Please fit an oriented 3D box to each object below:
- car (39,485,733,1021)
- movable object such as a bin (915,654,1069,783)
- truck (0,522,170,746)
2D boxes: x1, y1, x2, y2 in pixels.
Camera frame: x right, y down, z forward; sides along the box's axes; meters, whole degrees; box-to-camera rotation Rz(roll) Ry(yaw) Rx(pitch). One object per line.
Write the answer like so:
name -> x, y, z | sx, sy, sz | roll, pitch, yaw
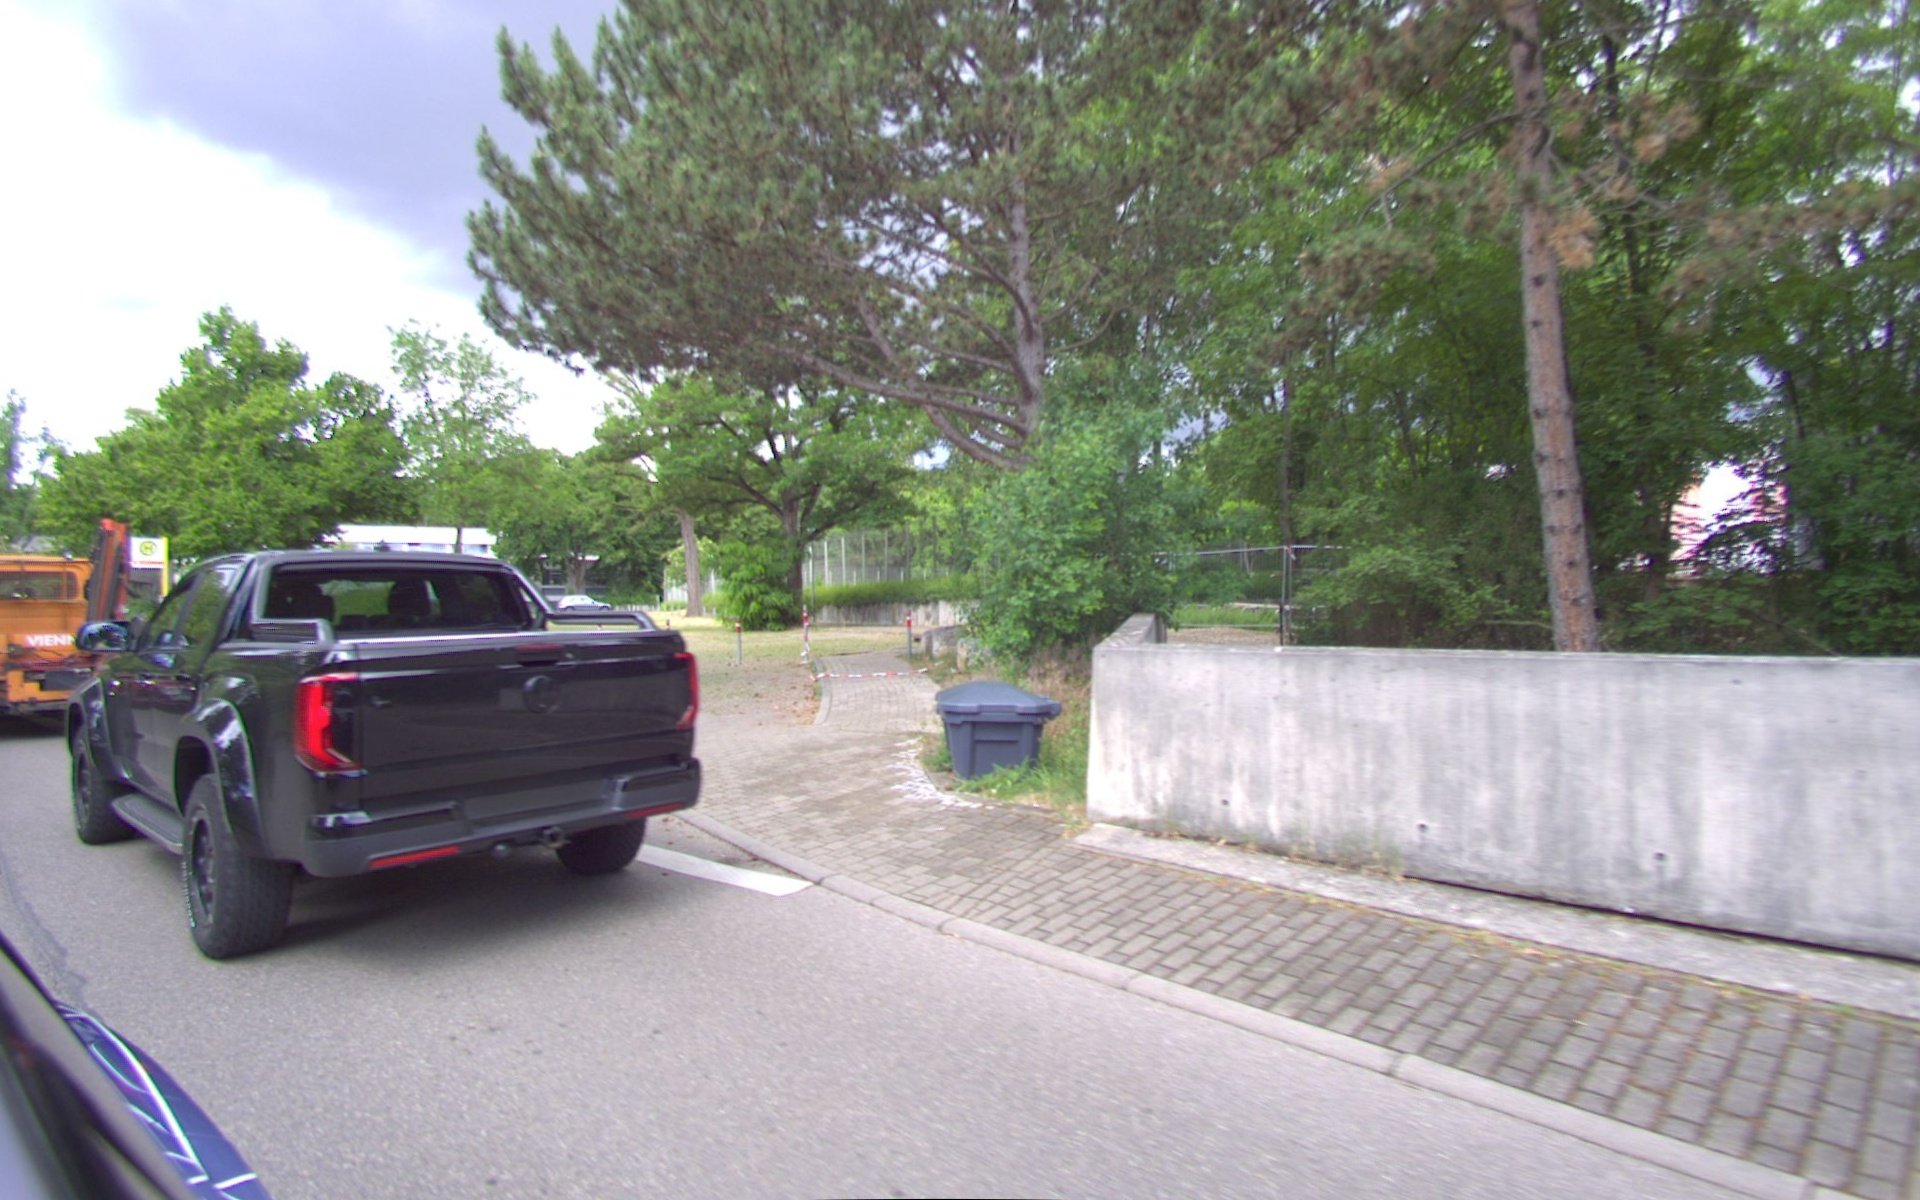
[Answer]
car -> -3.693, 0.525, 5.855 | 5.336, 1.749, 1.972 | -1, -1, 43
movable object such as a bin -> 0.272, 0.835, 7.431 | 1.036, 0.766, 1.145 | -1, 2, 6
truck -> -12.631, 0.426, 13.540 | 6.020, 2.488, 2.297 | -2, 1, 43
